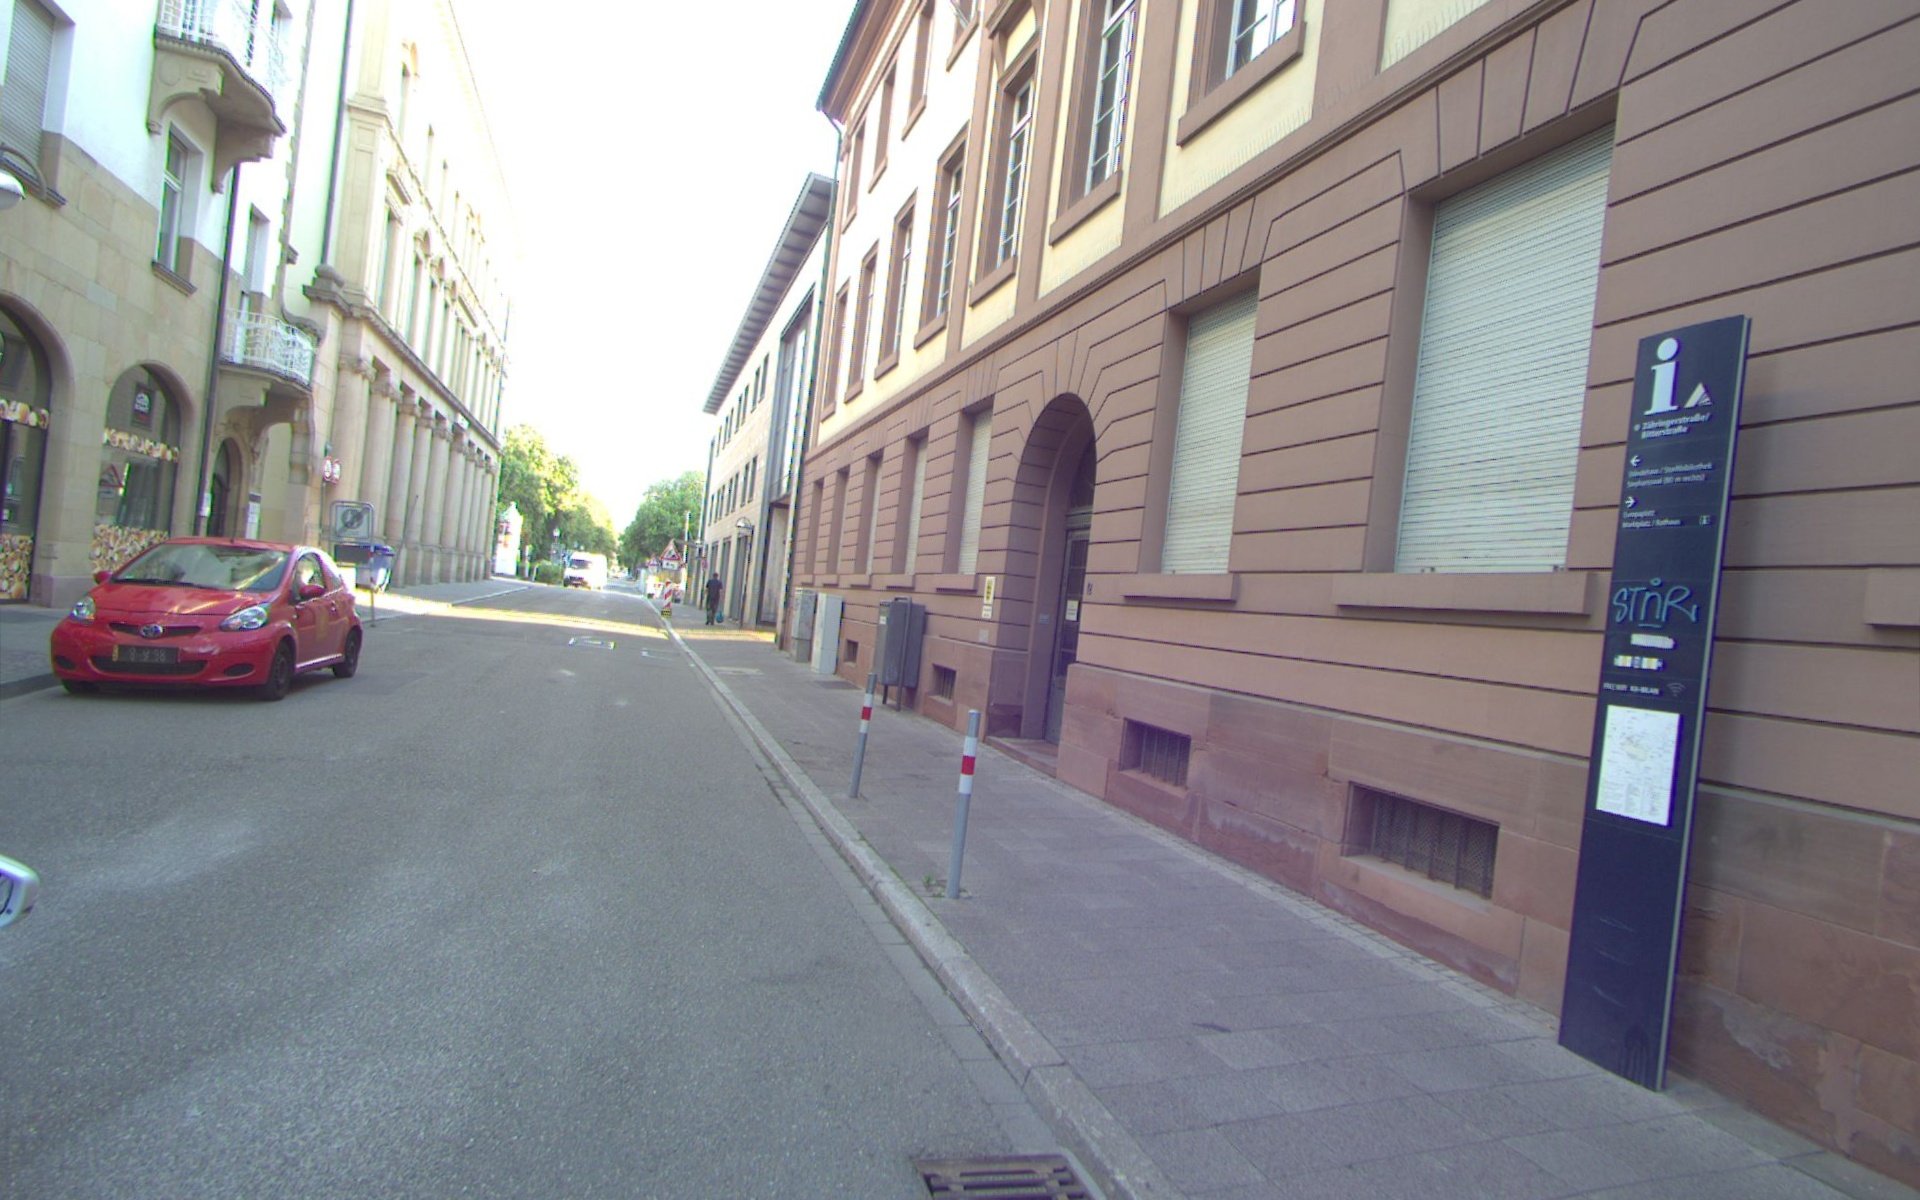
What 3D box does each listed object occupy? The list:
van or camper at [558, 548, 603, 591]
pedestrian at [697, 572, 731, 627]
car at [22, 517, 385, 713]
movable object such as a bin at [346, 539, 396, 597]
[{"bbox_3d":[-26.749,-2.153,71.122,2.193,2.616,6.350,7,0,-16],"label":"van or camper"},{"bbox_3d":[-8.466,-0.012,34.615,0.988,1.827,0.878,2,1,-20],"label":"pedestrian"},{"bbox_3d":[-7.224,0.098,10.112,1.637,1.488,3.917,4,0,-18],"label":"car"},{"bbox_3d":[-16.623,-0.900,28.425,0.819,1.521,1.286,7,0,-18],"label":"movable object such as a bin"}]
